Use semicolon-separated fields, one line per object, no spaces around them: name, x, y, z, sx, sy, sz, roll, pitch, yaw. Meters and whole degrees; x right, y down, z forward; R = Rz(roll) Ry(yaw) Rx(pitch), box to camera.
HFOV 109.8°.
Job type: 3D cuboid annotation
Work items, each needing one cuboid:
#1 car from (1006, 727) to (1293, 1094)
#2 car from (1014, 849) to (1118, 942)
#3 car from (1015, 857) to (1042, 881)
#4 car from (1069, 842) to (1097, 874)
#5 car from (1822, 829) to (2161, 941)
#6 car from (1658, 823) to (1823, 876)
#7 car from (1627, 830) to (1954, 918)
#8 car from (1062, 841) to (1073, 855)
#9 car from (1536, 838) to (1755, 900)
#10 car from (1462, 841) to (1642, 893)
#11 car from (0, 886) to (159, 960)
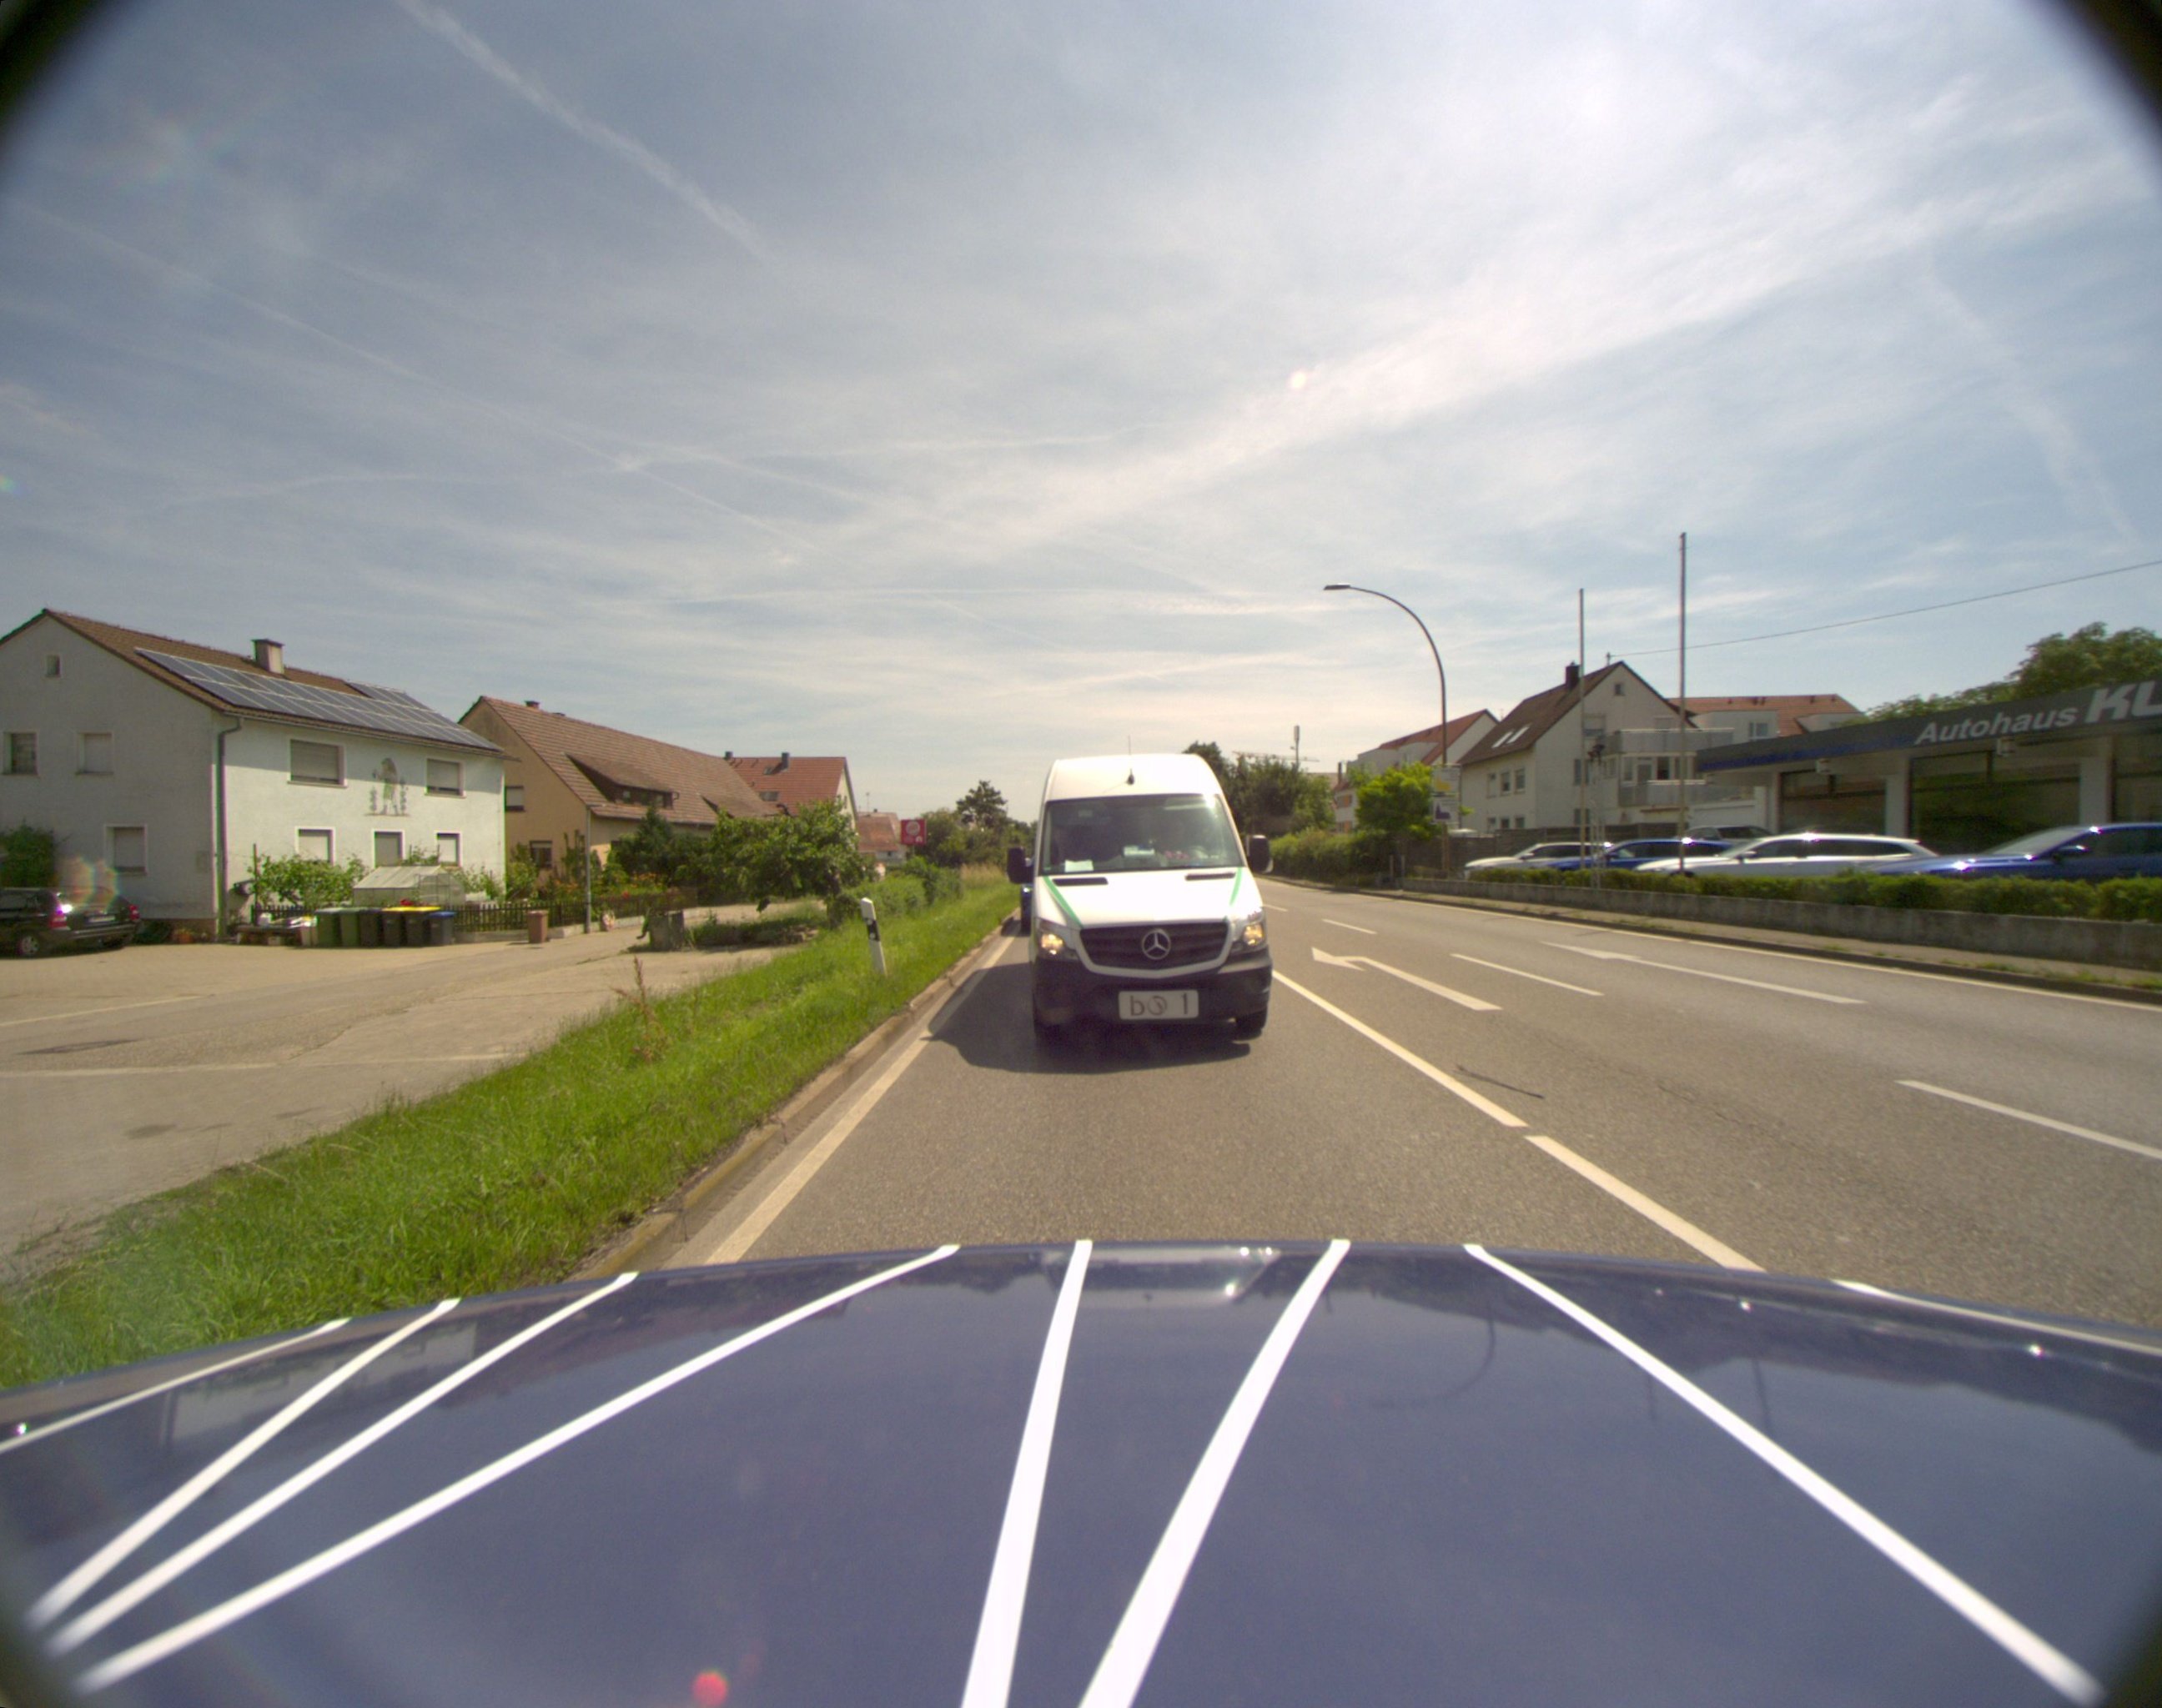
car;0.486;0.389;8.186;1.939;2.514;5.748;-2;0;0
car;-0.301;0.787;16.841;1.884;1.652;4.625;-4;0;-1
car;-3.620;1.021;52.673;1.636;1.476;3.551;-5;1;-2
car;0.113;0.188;41.768;1.423;1.650;3.088;-2;1;1
car;14.207;0.424;11.194;4.331;1.439;1.860;-2;1;26
car;20.695;-0.143;24.139;1.807;1.456;4.585;-2;0;9
car;14.058;0.434;15.489;4.505;1.439;1.860;-4;0;30
car;-2.662;-1.243;150.238;1.998;2.573;3.999;-2;1;0
car;14.412;0.394;19.749;4.331;1.439;1.860;-2;1;29
car;14.485;0.416;23.667;4.568;1.439;1.860;-2;1;29
car;-26.845;1.744;19.597;3.957;1.683;1.844;0;1;3
